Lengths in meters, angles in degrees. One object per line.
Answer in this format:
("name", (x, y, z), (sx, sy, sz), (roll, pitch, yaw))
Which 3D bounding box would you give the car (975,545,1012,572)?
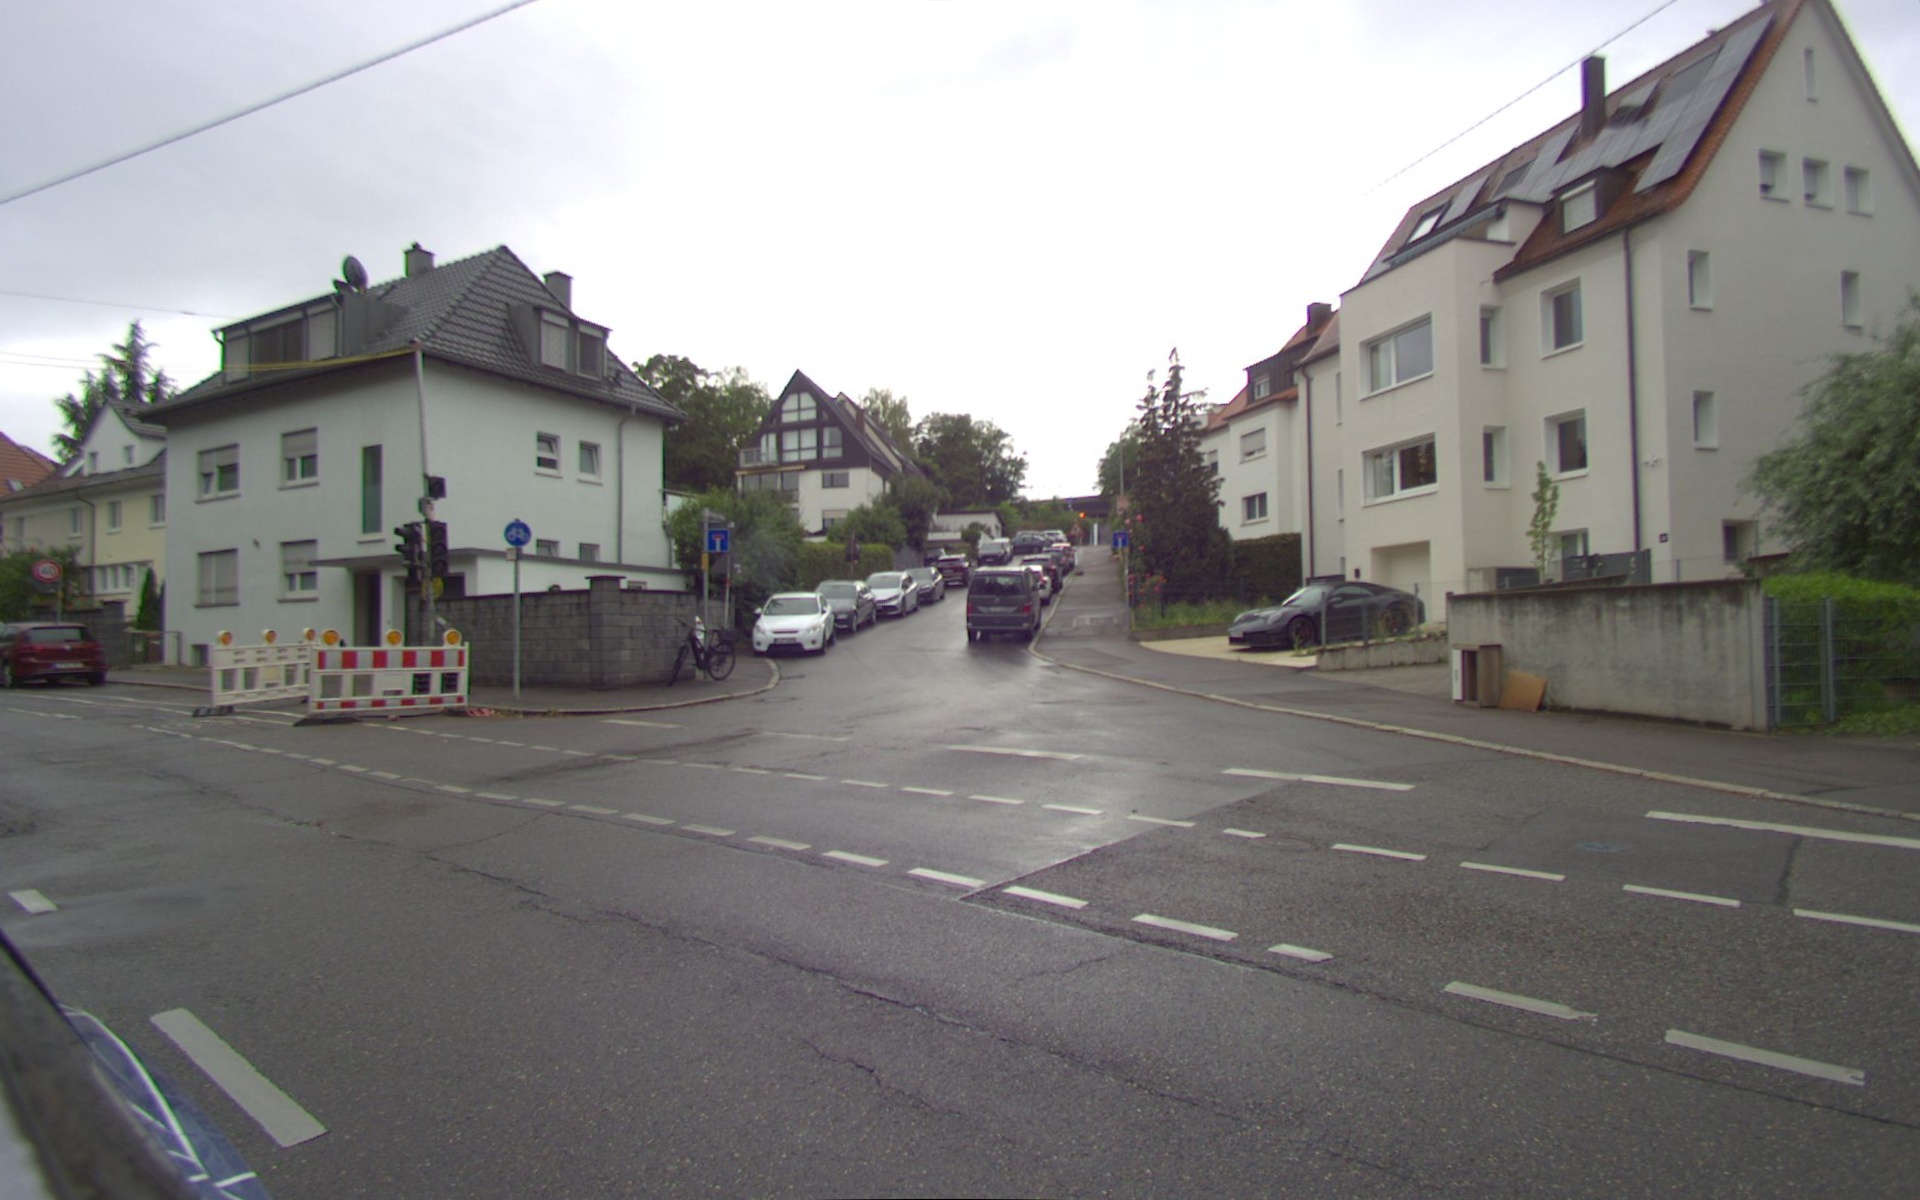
("car", (2.311, -2.850, 68.713), (1.720, 1.510, 3.817), (-1, 6, 13))

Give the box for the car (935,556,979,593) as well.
("car", (-0.115, -1.359, 52.340), (1.323, 1.566, 3.971), (-1, 6, 13))

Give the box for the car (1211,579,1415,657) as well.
("car", (7.587, 0.359, 21.823), (3.857, 1.342, 1.572), (-4, 1, -16))

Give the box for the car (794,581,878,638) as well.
("car", (-3.817, 0.240, 31.830), (1.684, 1.476, 3.847), (-2, 3, 7))

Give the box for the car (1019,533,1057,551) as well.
("car", (7.636, -5.647, 98.759), (3.489, 1.510, 1.615), (-1, 6, 16))

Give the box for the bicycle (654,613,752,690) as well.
("bicycle", (-4.690, 0.912, 18.542), (0.705, 1.321, 1.713), (-1, 0, 33))

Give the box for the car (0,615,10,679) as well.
("car", (-25.925, 1.288, 25.735), (3.993, 1.601, 1.652), (-3, -1, 33))

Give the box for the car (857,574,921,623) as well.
("car", (-2.528, -0.092, 36.953), (1.564, 1.476, 3.847), (-1, 5, 7))

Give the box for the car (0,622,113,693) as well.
("car", (-21.464, 1.348, 23.365), (3.785, 1.505, 1.877), (-3, -3, 33))

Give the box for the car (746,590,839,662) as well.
("car", (-4.198, 0.608, 25.864), (1.726, 1.476, 3.561), (-2, 3, 0))

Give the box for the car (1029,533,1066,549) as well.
("car", (9.015, -6.061, 103.823), (3.492, 1.510, 1.614), (-1, 6, 18))

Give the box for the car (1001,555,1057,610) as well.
("car", (2.752, -0.742, 39.877), (1.900, 1.850, 3.406), (-2, 5, 9))

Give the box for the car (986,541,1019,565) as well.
("car", (3.206, -3.530, 75.438), (1.720, 1.510, 3.817), (-1, 6, 13))

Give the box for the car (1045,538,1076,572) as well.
("car", (6.255, -2.808, 62.740), (1.677, 1.871, 3.553), (-2, 5, 9))

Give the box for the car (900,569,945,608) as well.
("car", (-1.560, -0.525, 42.686), (1.320, 1.400, 3.497), (-1, 5, 7))

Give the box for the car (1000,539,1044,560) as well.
("car", (5.135, -4.206, 83.767), (3.572, 1.510, 1.578), (-2, 5, 7))

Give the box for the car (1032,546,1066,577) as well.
("car", (5.170, -2.238, 58.277), (1.677, 1.479, 3.553), (-2, 5, 9))

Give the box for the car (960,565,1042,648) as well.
("car", (1.243, 0.115, 29.021), (1.893, 1.950, 3.789), (-2, 5, 9))

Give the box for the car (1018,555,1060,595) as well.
("car", (3.573, -1.131, 45.242), (1.565, 1.479, 3.553), (-2, 5, 9))
